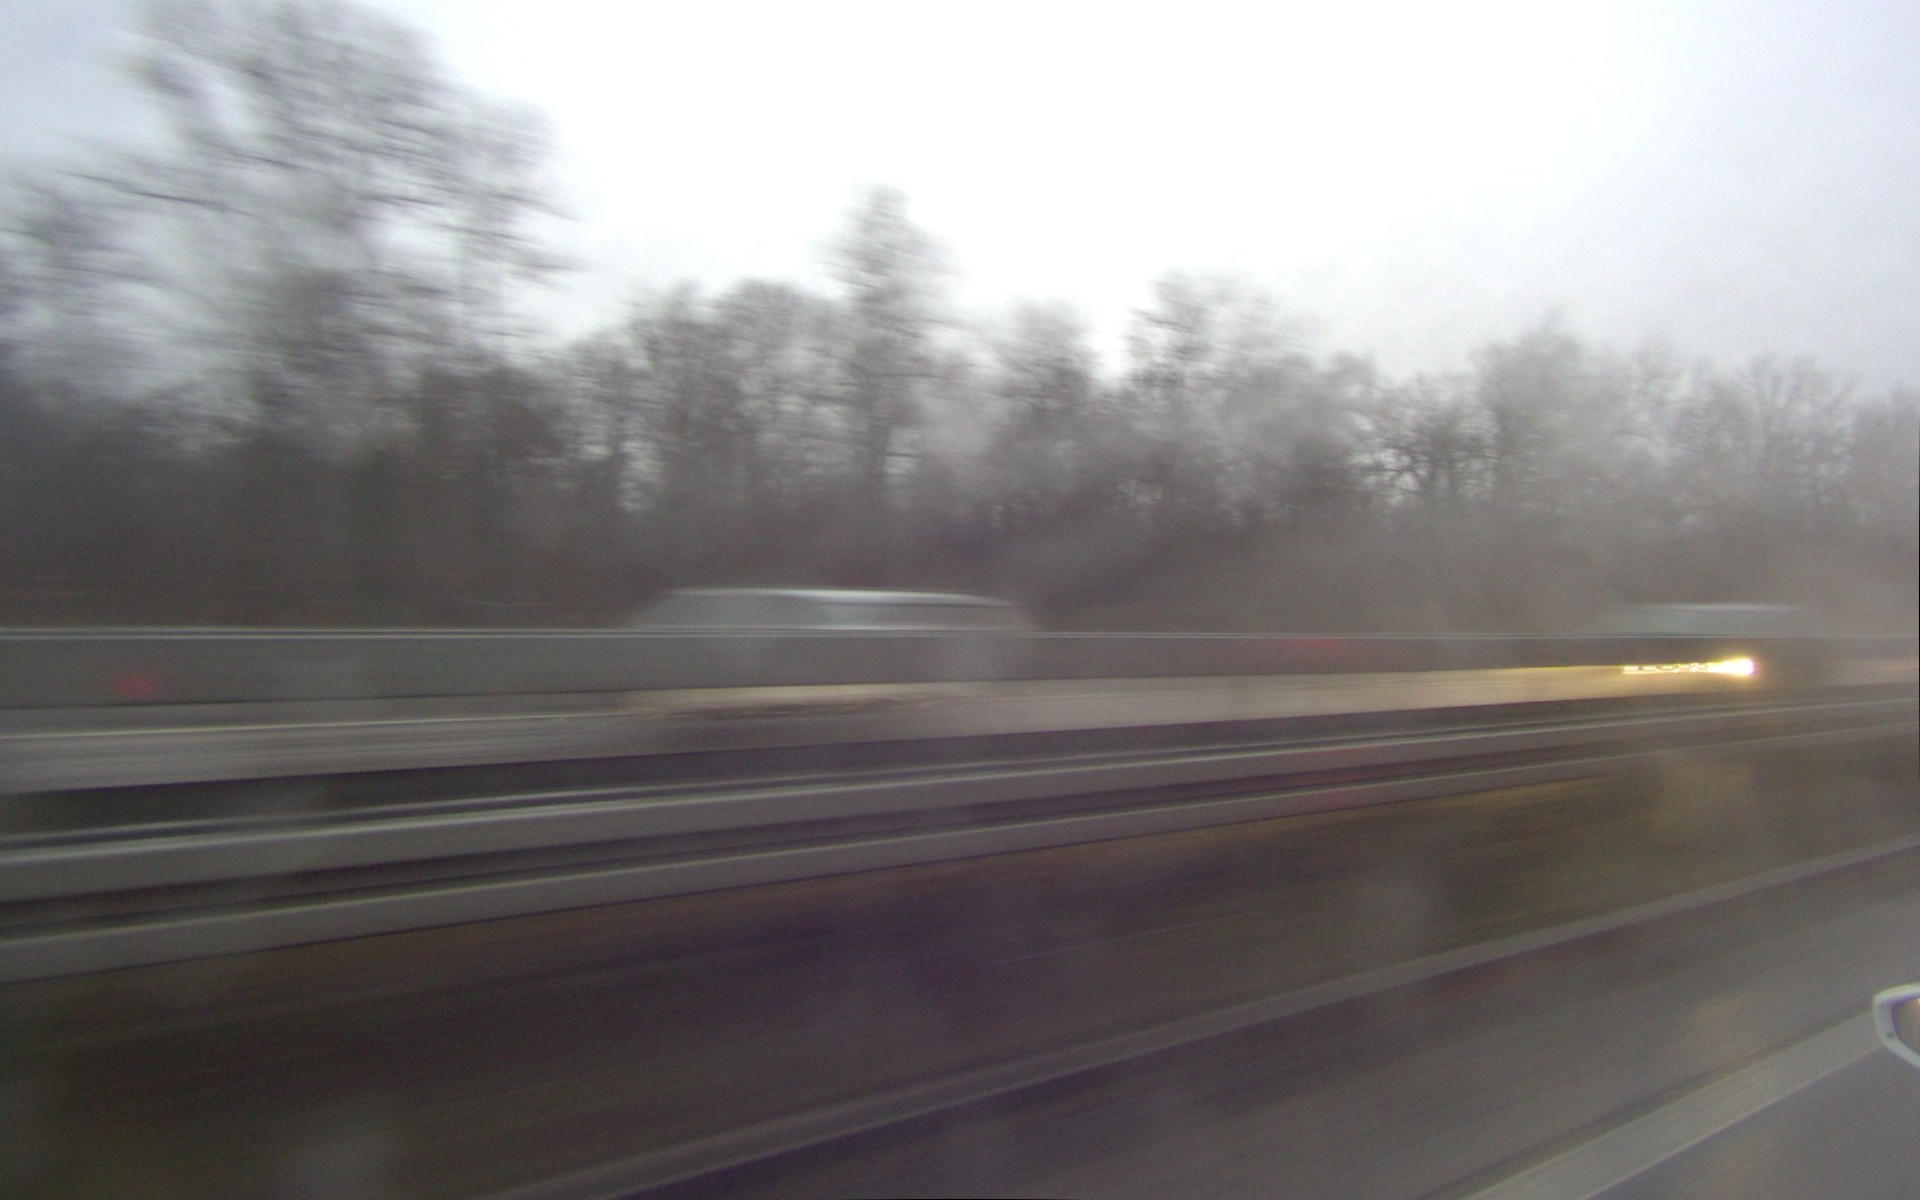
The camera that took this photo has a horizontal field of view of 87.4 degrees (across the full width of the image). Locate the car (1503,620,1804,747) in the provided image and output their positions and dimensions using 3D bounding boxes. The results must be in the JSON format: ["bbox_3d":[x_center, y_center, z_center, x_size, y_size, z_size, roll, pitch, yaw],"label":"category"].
[{"bbox_3d":[9.115,1.026,13.142,4.071,1.414,1.537,2,0,-28],"label":"car"}]

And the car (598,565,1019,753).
[{"bbox_3d":[-1.631,0.602,11.333,4.374,1.770,1.711,2,0,-31],"label":"car"}]
